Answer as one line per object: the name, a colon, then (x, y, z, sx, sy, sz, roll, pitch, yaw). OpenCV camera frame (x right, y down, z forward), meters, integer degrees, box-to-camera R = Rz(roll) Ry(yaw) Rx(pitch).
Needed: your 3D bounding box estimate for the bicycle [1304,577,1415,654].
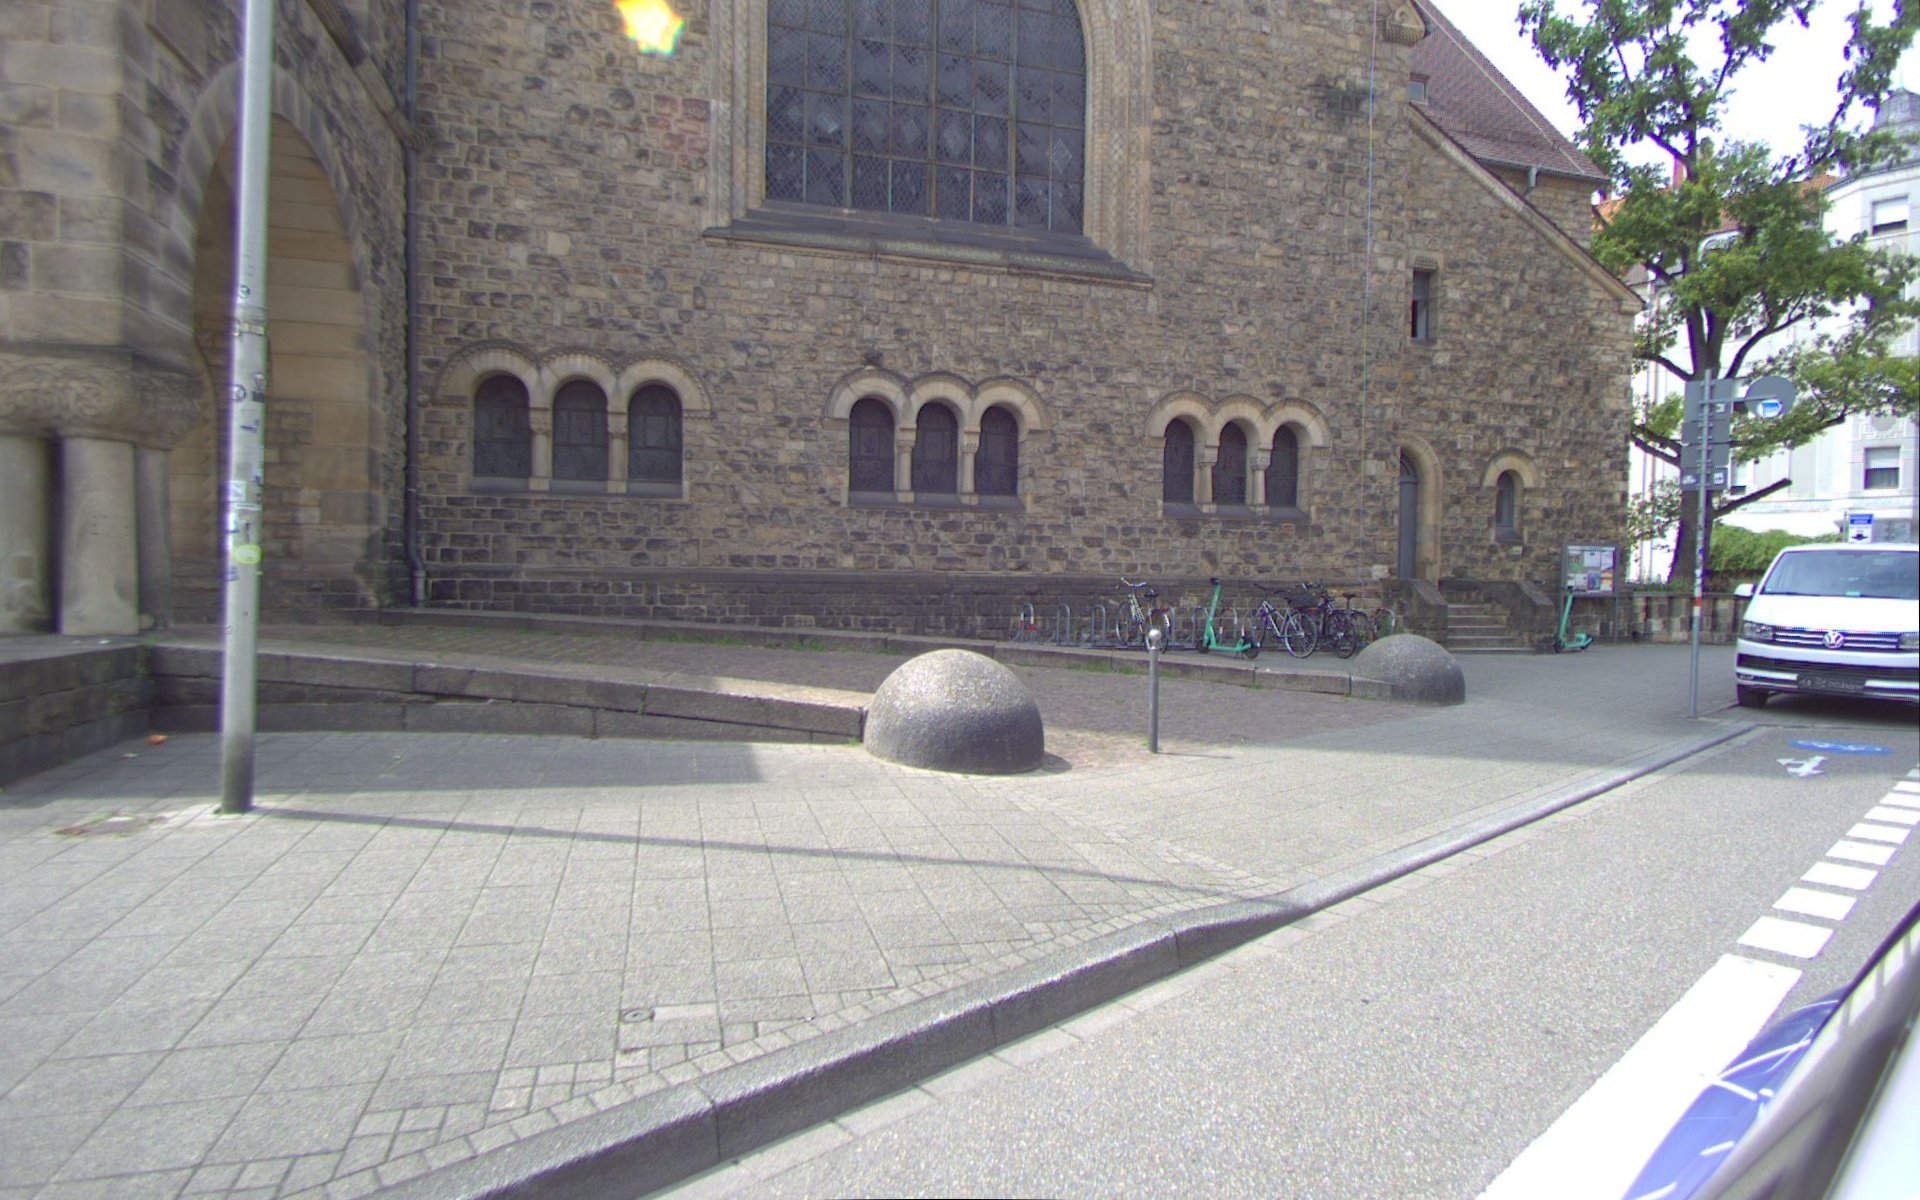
bicycle: (6.327, 0.215, 16.134, 0.534, 1.125, 1.786, 1, 2, -21)

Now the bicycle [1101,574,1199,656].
bicycle: (2.800, 0.196, 15.107, 0.534, 1.125, 1.786, 1, 2, -21)

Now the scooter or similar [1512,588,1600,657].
scooter or similar: (10.847, 0.406, 18.421, 1.450, 1.222, 0.547, 1, 1, -20)

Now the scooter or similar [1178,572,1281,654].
scooter or similar: (4.047, 0.166, 15.344, 0.534, 1.154, 1.786, 1, 1, -21)

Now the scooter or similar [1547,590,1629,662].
scooter or similar: (11.018, 0.447, 17.758, 1.413, 1.222, 0.547, 1, 1, -27)

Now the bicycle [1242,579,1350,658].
bicycle: (5.167, 0.252, 15.691, 0.534, 1.125, 1.786, 1, 2, -21)

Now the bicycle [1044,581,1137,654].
bicycle: (1.885, 0.230, 14.895, 0.534, 0.969, 1.786, 1, 2, -21)

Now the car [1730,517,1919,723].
car: (11.109, 0.137, 12.136, 5.036, 2.054, 2.018, -1, 3, -42)

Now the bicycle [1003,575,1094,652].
bicycle: (1.252, 0.170, 14.704, 0.534, 0.969, 1.787, 1, 3, -21)

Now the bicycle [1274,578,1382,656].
bicycle: (5.739, 0.237, 15.890, 0.534, 1.125, 1.779, 1, 2, -21)
